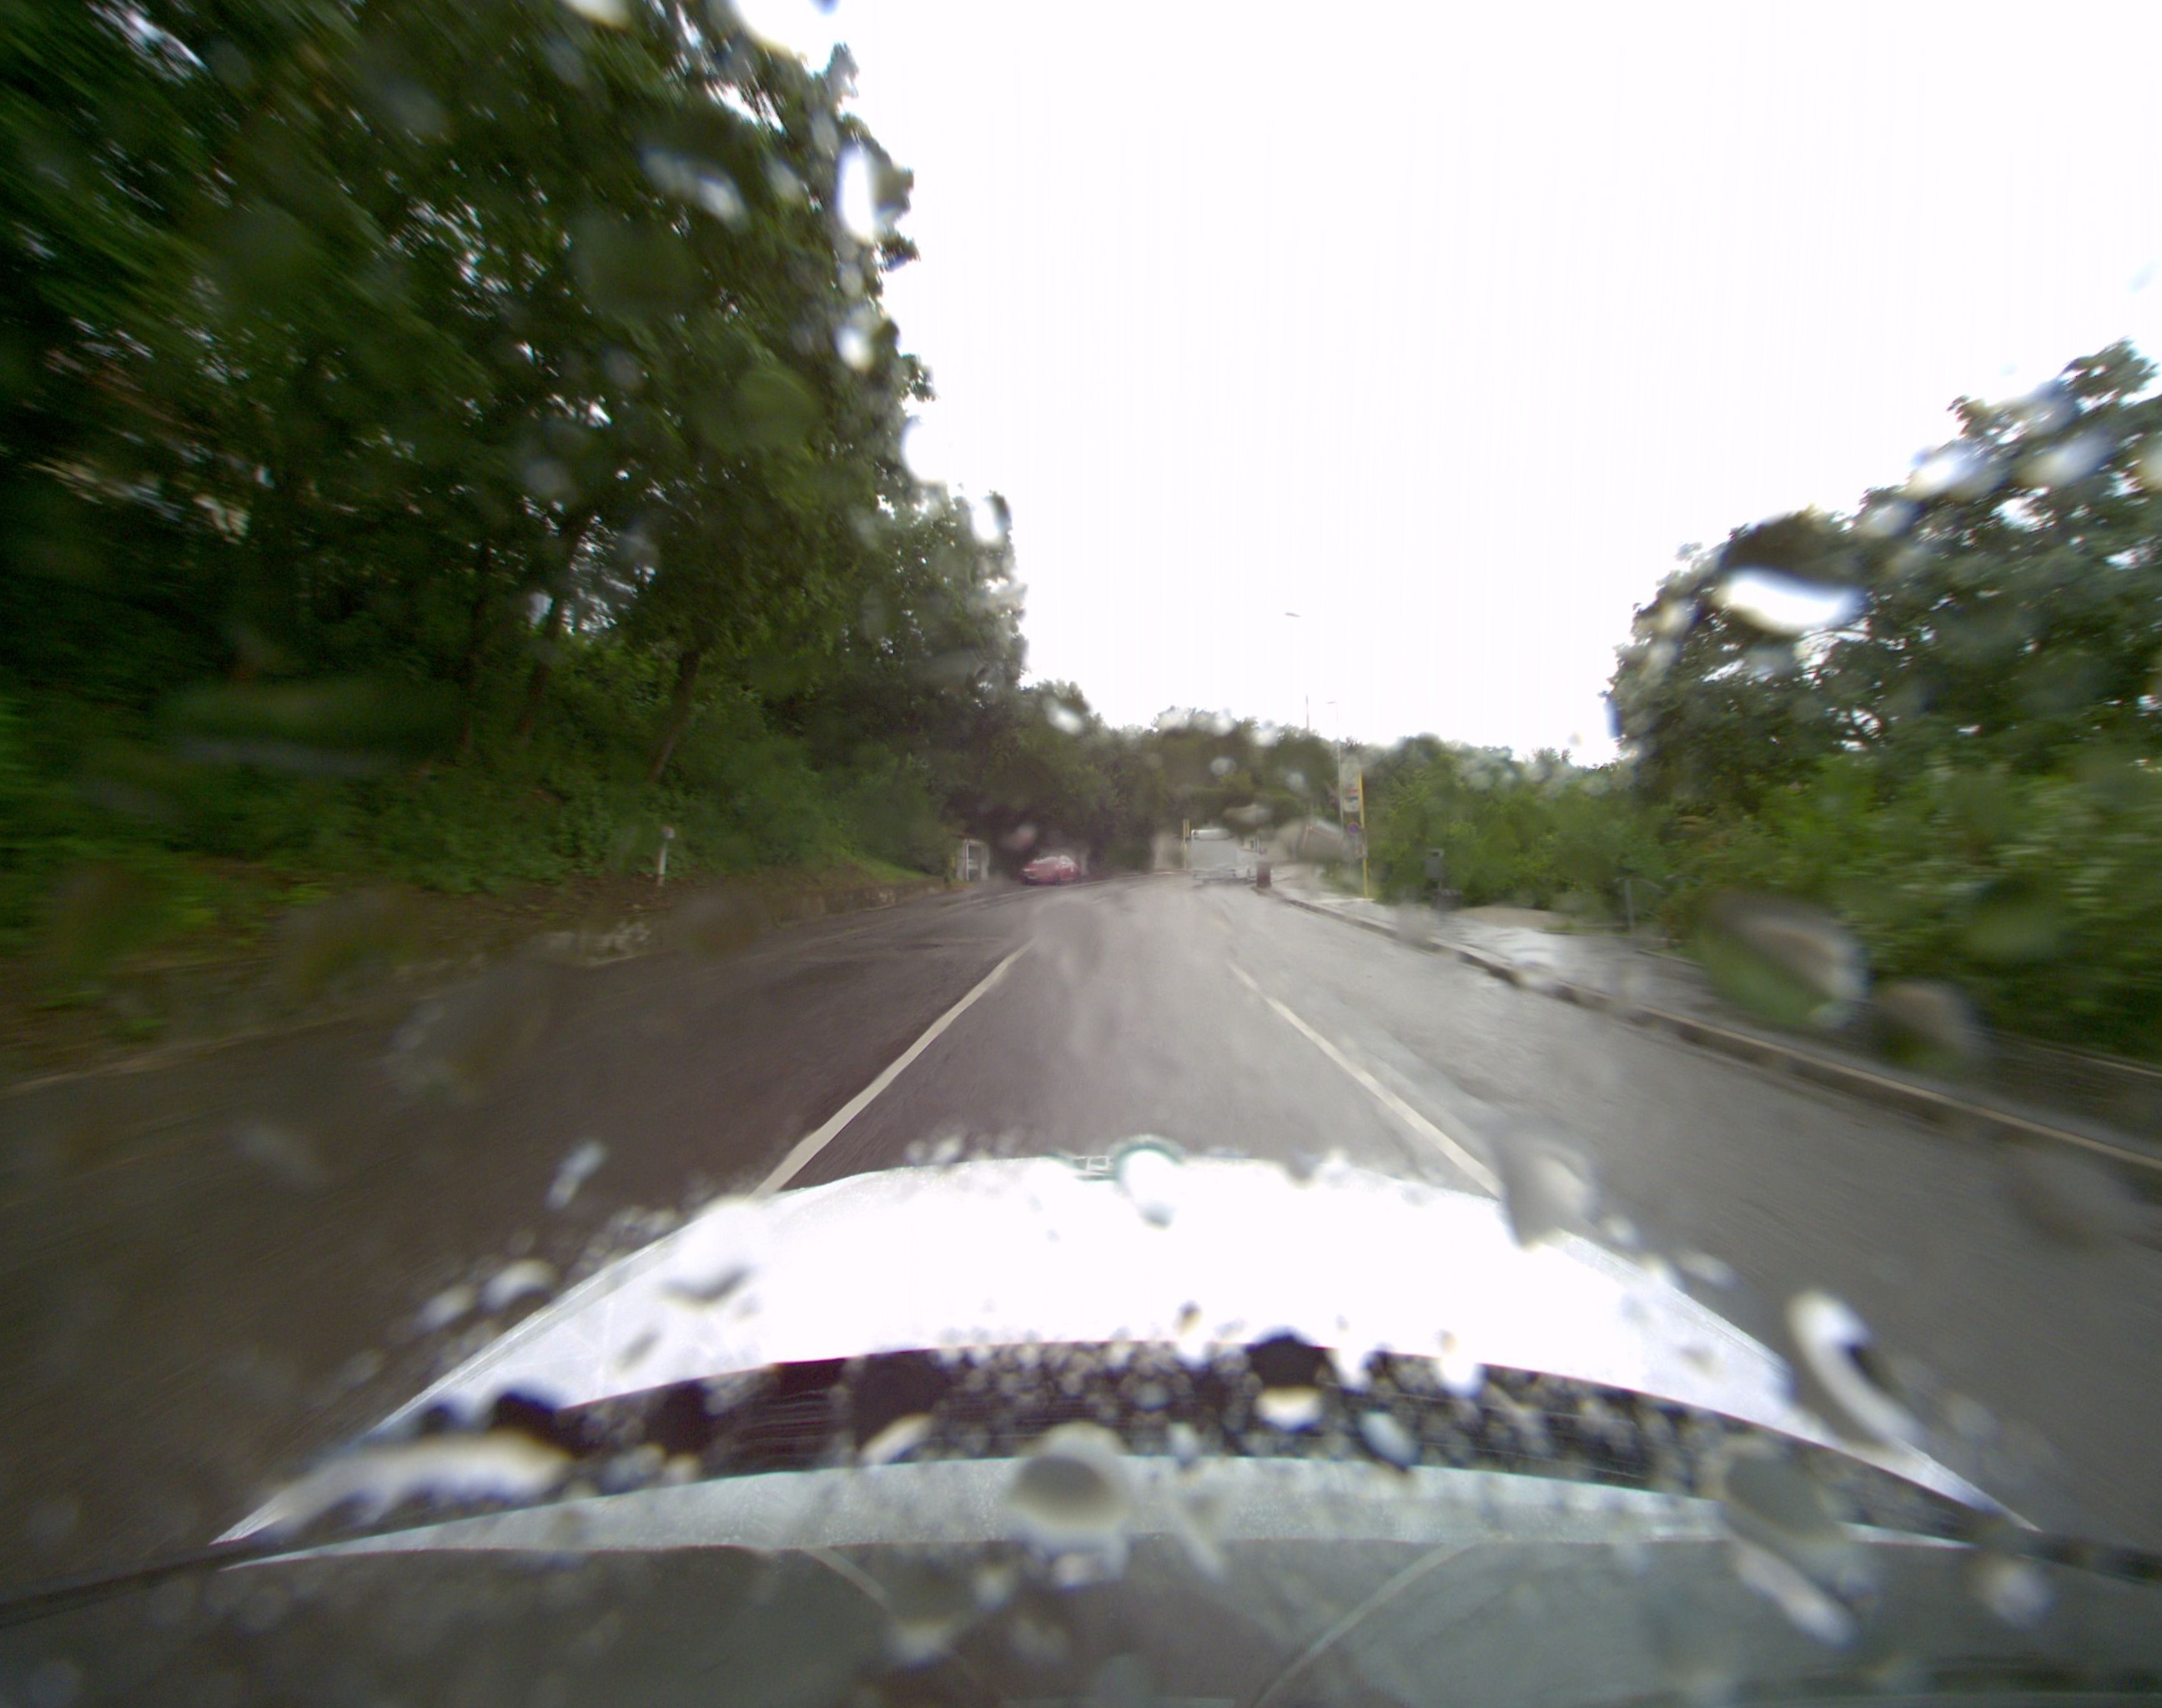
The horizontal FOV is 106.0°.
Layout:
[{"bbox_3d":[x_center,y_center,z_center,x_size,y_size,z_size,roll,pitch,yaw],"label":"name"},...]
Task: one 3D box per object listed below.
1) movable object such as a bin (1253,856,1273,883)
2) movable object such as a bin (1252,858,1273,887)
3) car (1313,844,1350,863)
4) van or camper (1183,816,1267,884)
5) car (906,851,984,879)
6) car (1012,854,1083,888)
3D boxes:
[{"bbox_3d":[7.555,0.639,33.849,0.773,1.133,0.740,-1,0,9],"label":"movable object such as a bin"},{"bbox_3d":[7.234,0.727,32.453,0.773,1.133,0.740,-1,0,9],"label":"movable object such as a bin"},{"bbox_3d":[23.236,-0.071,75.564,1.710,1.415,4.025,-6,-1,41],"label":"car"},{"bbox_3d":[7.265,-0.225,40.445,2.517,2.925,5.981,-5,-1,23],"label":"van or camper"},{"bbox_3d":[-7.865,0.629,47.043,3.955,1.503,1.888,-2,0,18],"label":"car"},{"bbox_3d":[-1.617,0.826,41.009,1.977,1.561,4.675,0,0,19],"label":"car"}]
